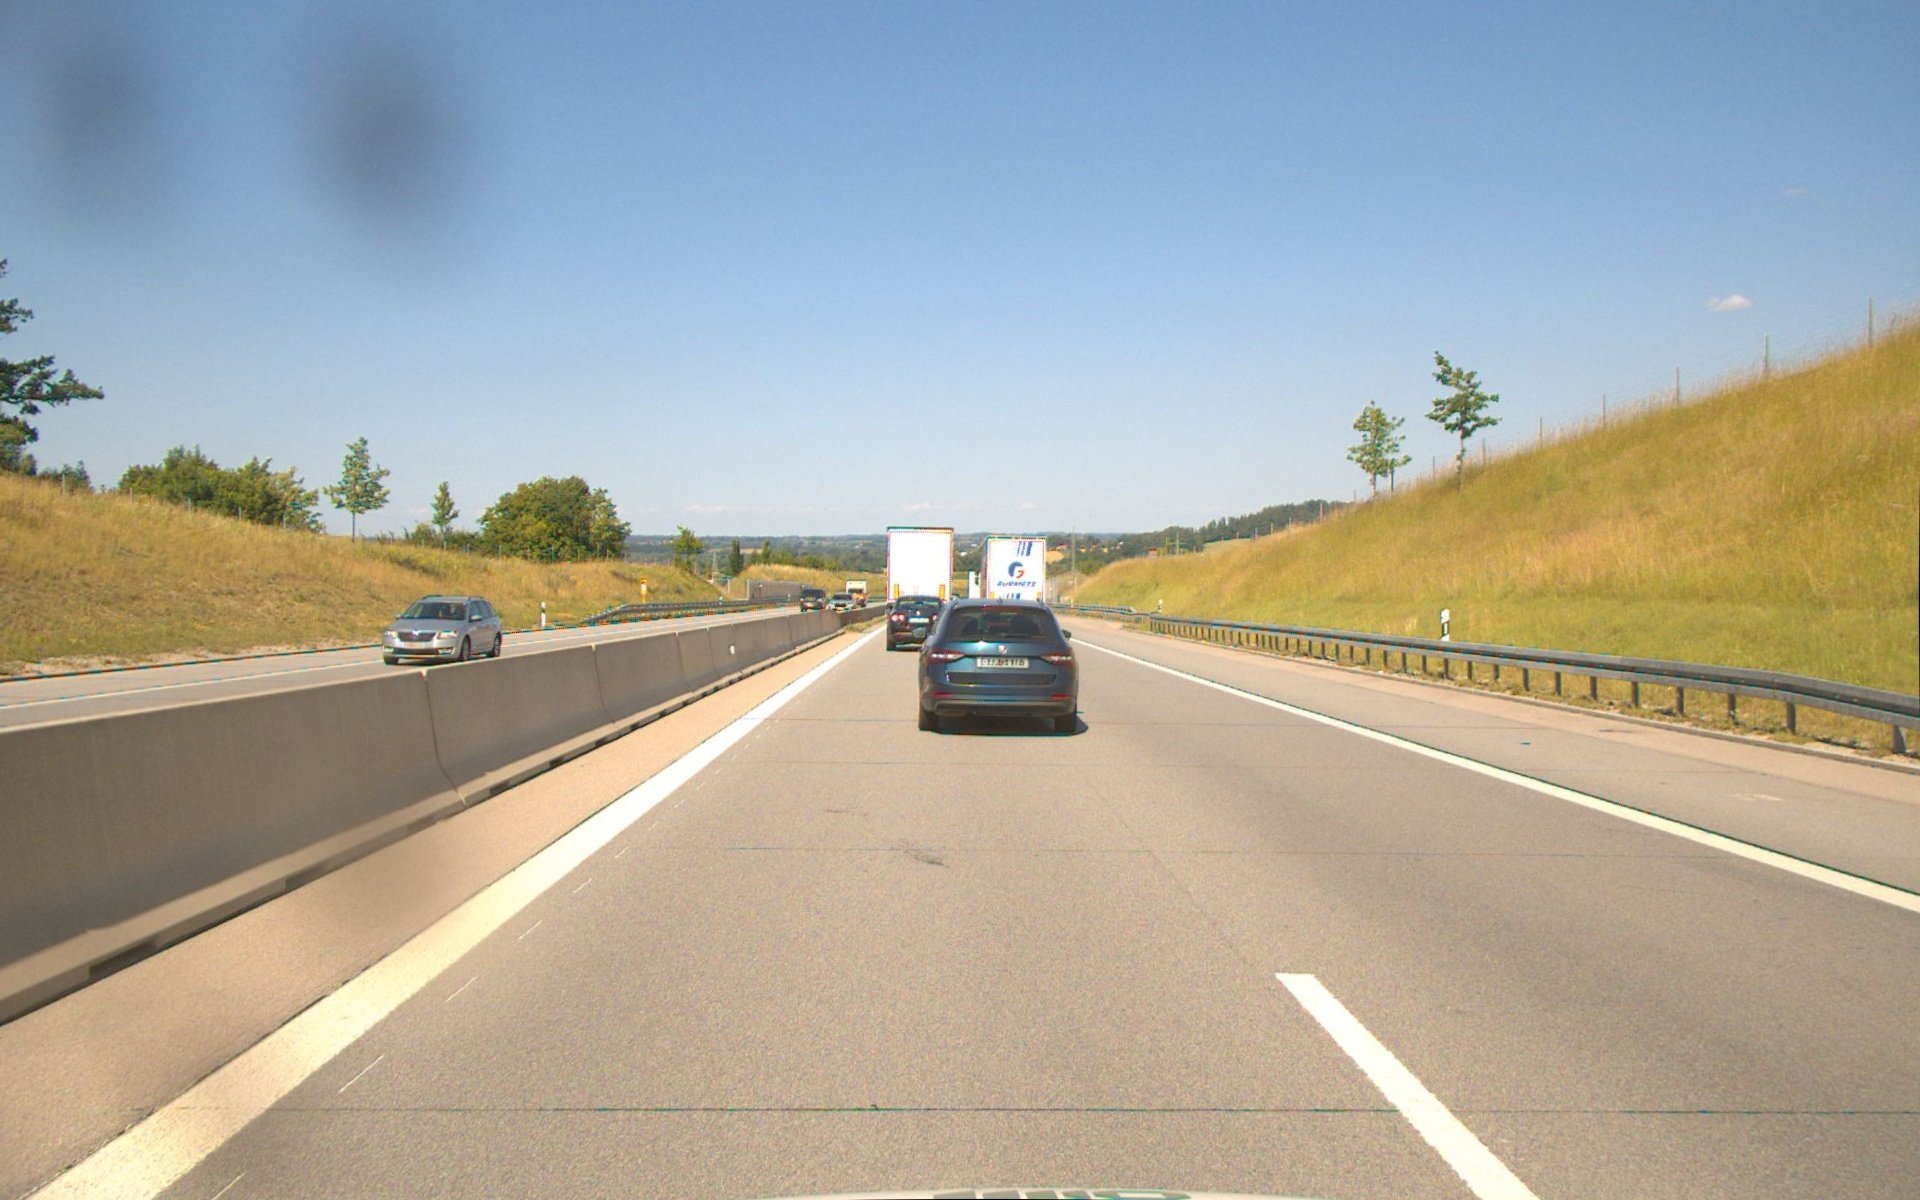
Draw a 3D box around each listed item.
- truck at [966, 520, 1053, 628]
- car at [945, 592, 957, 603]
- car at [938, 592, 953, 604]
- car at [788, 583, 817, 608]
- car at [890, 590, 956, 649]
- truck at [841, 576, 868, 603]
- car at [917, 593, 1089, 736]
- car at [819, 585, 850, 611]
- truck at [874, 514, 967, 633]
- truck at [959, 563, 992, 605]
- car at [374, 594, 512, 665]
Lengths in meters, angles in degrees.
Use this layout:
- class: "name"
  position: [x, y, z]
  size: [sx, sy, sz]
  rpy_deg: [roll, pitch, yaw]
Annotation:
- class: "truck"
  position: [2.231, -1.155, 75.765]
  size: [3.530, 4.457, 11.235]
  rpy_deg: [-2, 0, 1]
- class: "car"
  position: [-1.282, -0.335, 232.409]
  size: [1.665, 1.466, 4.000]
  rpy_deg: [0, 0, 0]
- class: "car"
  position: [-1.714, -0.227, 194.713]
  size: [1.665, 1.466, 4.000]
  rpy_deg: [0, 0, 0]
- class: "car"
  position: [-13.092, -0.395, 137.582]
  size: [1.953, 2.049, 4.969]
  rpy_deg: [1, 0, -1]
- class: "car"
  position: [-1.034, 0.486, 44.725]
  size: [1.666, 1.466, 3.998]
  rpy_deg: [-2, 0, -2]
- class: "truck"
  position: [-11.977, -1.190, 187.610]
  size: [2.718, 3.074, 6.791]
  rpy_deg: [0, 0, -1]
- class: "car"
  position: [0.403, 0.668, 19.169]
  size: [1.741, 1.466, 3.787]
  rpy_deg: [0, 0, -2]
- class: "car"
  position: [-9.084, -0.159, 119.908]
  size: [1.892, 1.762, 4.885]
  rpy_deg: [1, 0, -1]
- class: "truck"
  position: [-1.482, -1.056, 68.991]
  size: [3.144, 4.457, 11.236]
  rpy_deg: [-2, 0, 2]
- class: "truck"
  position: [1.839, -1.811, 188.505]
  size: [3.530, 4.457, 11.235]
  rpy_deg: [-2, 0, 1]
- class: "car"
  position: [-11.589, 0.624, 37.407]
  size: [1.767, 1.497, 4.526]
  rpy_deg: [0, 0, -1]
